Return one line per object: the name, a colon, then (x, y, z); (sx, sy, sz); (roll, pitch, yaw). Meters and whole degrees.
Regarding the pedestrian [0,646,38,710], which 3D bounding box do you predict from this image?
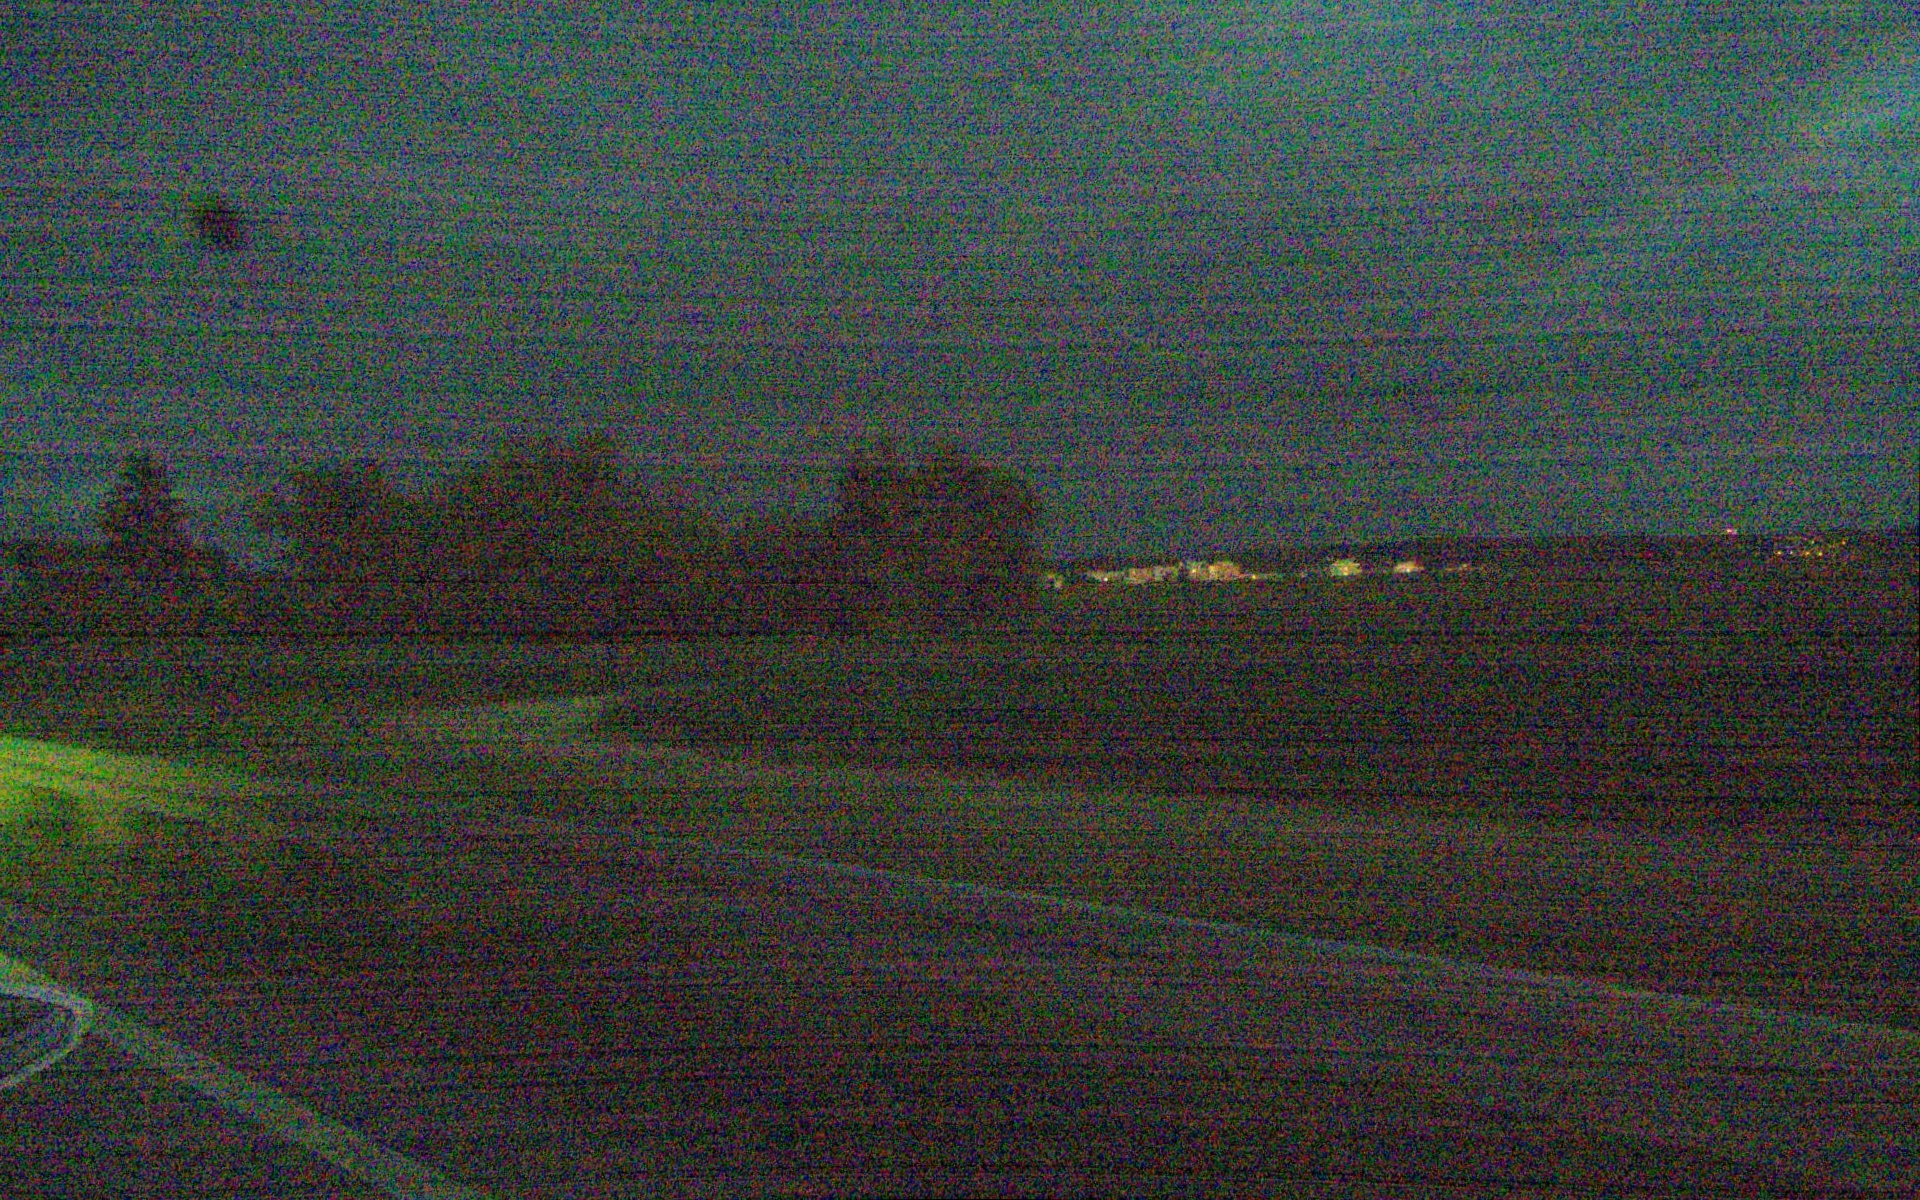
pedestrian: (-25.774, 2.097, 27.031); (1.102, 1.664, 1.060); (-1, -1, 32)
